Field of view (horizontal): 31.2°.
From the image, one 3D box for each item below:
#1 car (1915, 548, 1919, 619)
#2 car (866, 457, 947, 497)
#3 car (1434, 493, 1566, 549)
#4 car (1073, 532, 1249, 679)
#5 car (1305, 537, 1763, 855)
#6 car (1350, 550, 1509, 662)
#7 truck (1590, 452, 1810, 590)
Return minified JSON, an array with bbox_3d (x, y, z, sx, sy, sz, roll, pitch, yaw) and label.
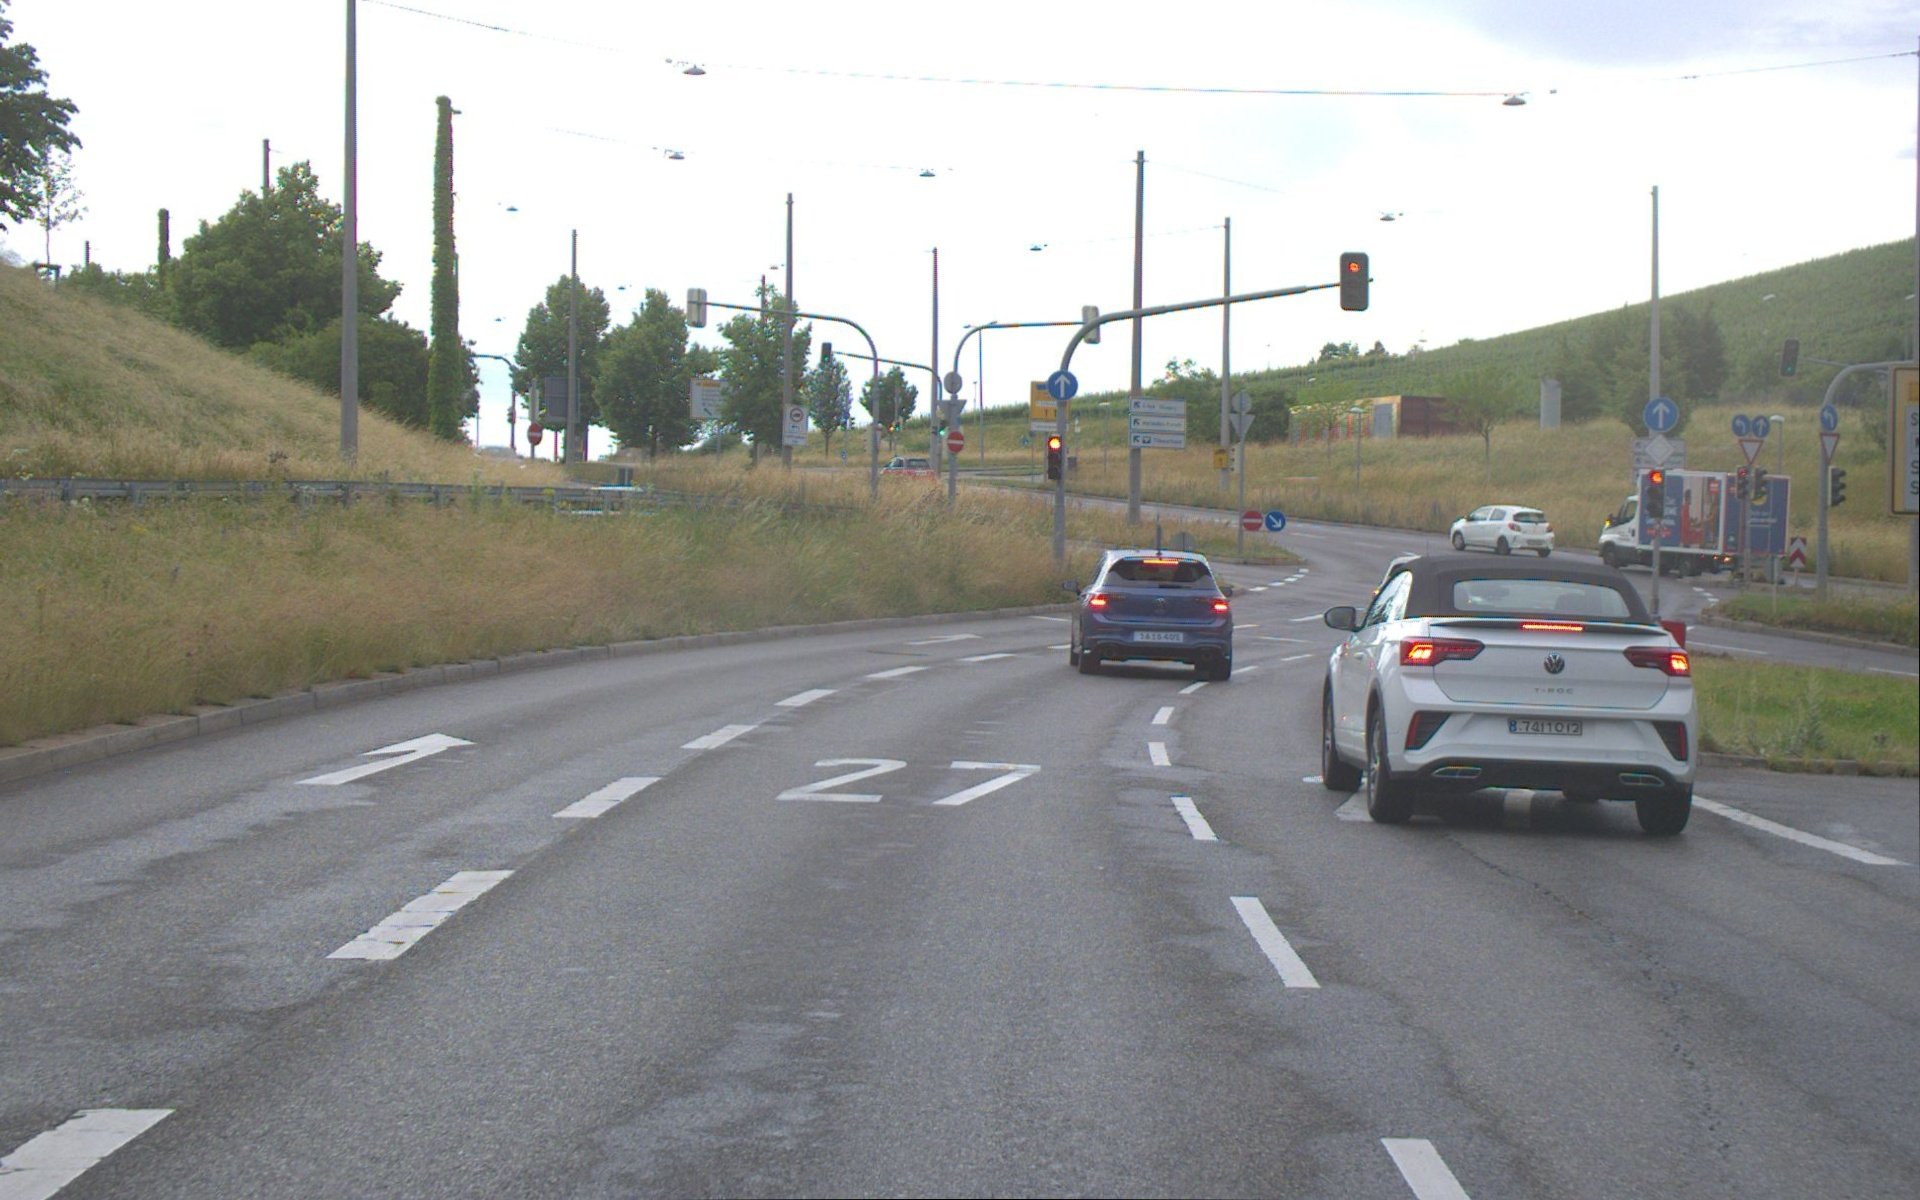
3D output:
[{"bbox_3d":[25.426,-0.279,82.572,1.994,1.706,4.564,-2,5,-34],"label":"car"},{"bbox_3d":[-2.377,-5.413,151.150,1.993,1.706,4.565,-1,2,-23],"label":"car"},{"bbox_3d":[16.524,-2.443,105.480,1.993,1.495,4.565,-1,4,-20],"label":"car"},{"bbox_3d":[2.427,0.057,40.710,1.926,1.594,4.061,2,0,5],"label":"car"},{"bbox_3d":[3.293,0.477,20.554,1.996,1.573,4.126,3,1,1],"label":"car"},{"bbox_3d":[7.106,0.067,51.740,1.776,1.514,3.722,4,1,16],"label":"car"},{"bbox_3d":[20.457,-2.251,95.395,2.847,3.514,6.238,-1,4,-22],"label":"truck"}]
